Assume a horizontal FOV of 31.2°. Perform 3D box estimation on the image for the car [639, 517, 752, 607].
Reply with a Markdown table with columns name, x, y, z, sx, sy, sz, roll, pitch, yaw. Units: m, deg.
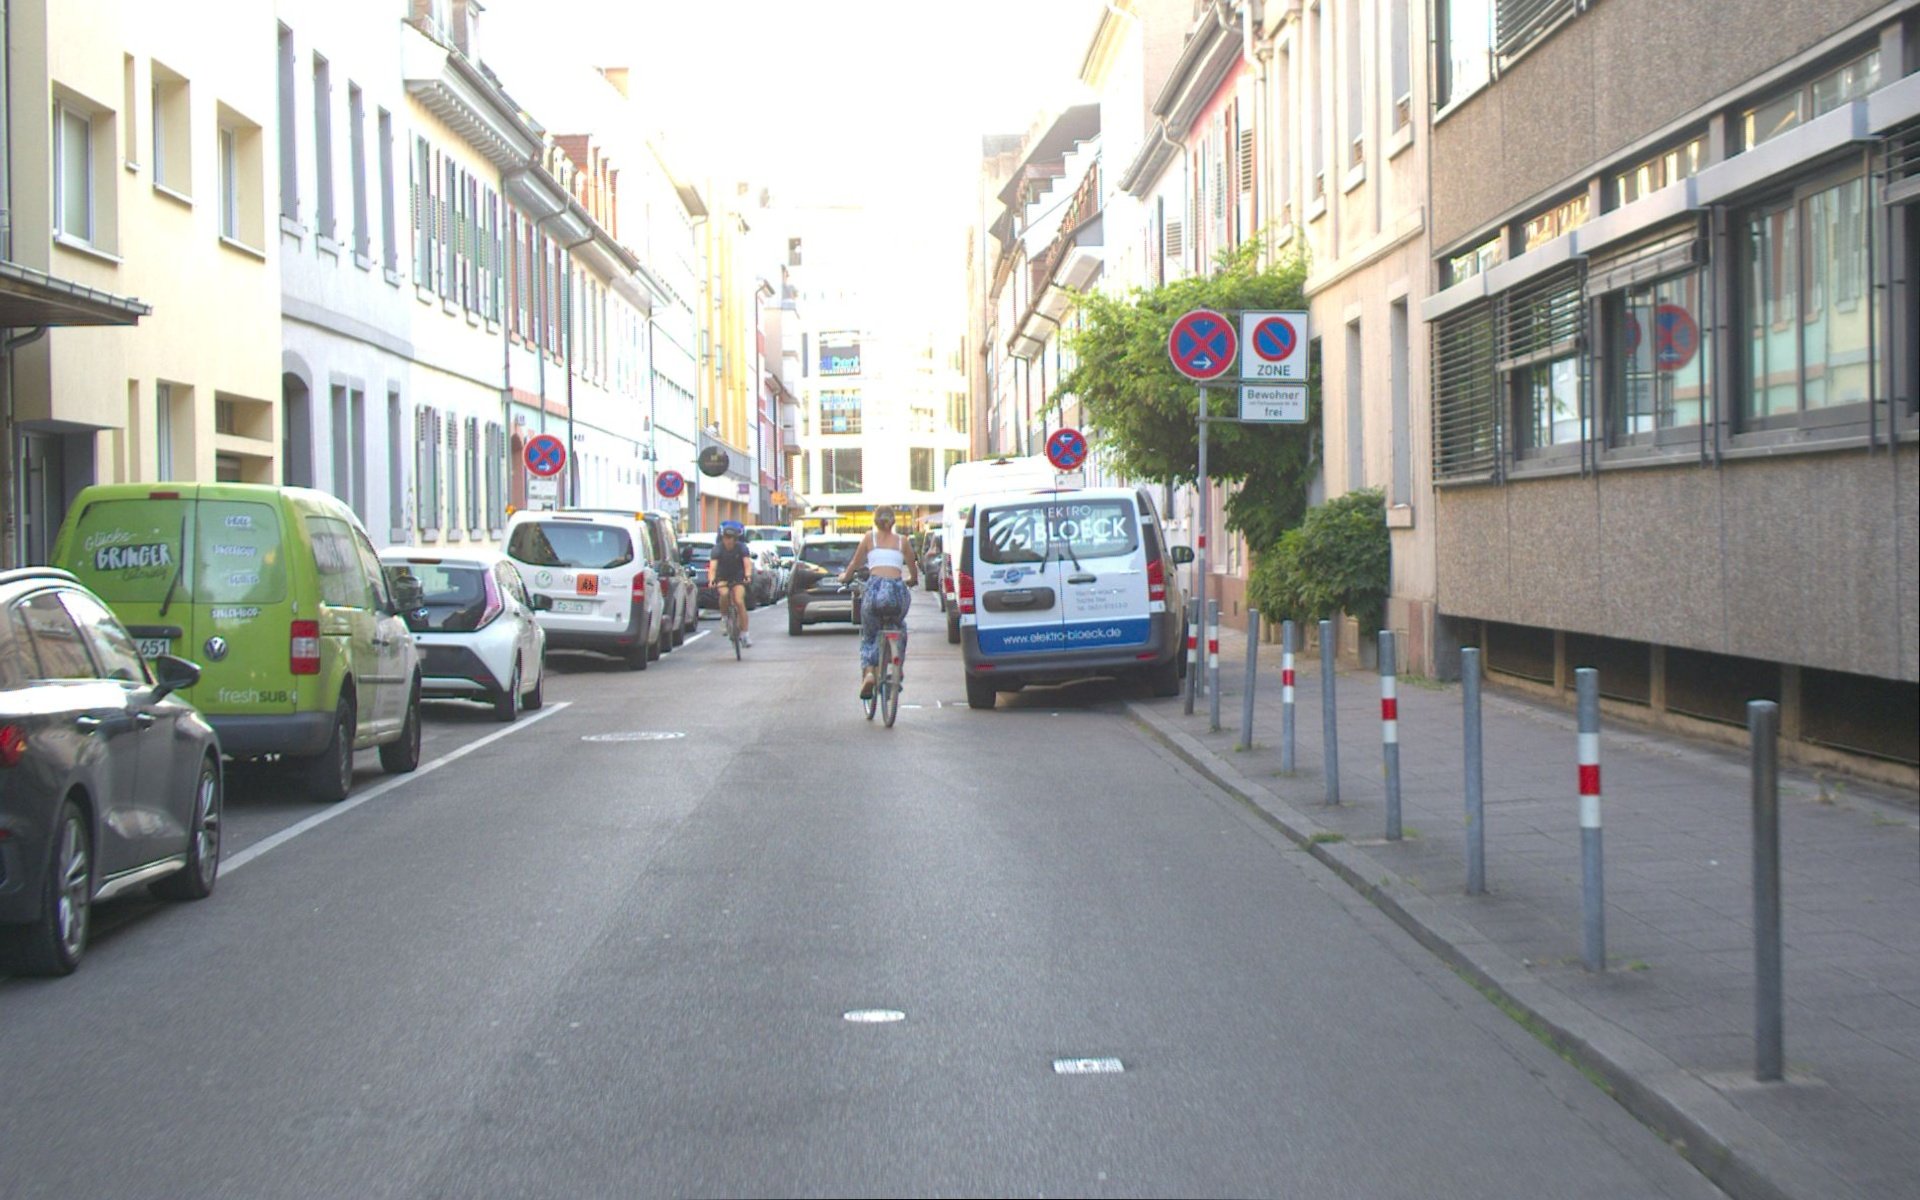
| name | x | y | z | sx | sy | sz | roll | pitch | yaw |
| --- | --- | --- | --- | --- | --- | --- | --- | --- | --- |
| car | -5.134 | -0.762 | 67.261 | 1.803 | 1.671 | 4.490 | -1 | 1 | 1 |

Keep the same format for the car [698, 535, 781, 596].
| name | x | y | z | sx | sy | sz | roll | pitch | yaw |
| --- | --- | --- | --- | --- | --- | --- | --- | --- | --- |
| car | -5.406 | -0.873 | 84.640 | 1.918 | 1.429 | 4.294 | 1 | 1 | -2 |

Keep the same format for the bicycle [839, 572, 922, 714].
| name | x | y | z | sx | sy | sz | roll | pitch | yaw |
| --- | --- | --- | --- | --- | --- | --- | --- | --- | --- |
| bicycle | -0.626 | 0.327 | 27.511 | 0.613 | 1.078 | 1.809 | 0 | 1 | 0 |

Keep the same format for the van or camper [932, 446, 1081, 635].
| name | x | y | z | sx | sy | sz | roll | pitch | yaw |
| --- | --- | --- | --- | --- | --- | --- | --- | --- | --- |
| van or camper | 0.661 | -0.910 | 51.879 | 2.050 | 2.628 | 7.063 | -1 | 1 | 0 |

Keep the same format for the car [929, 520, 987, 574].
| name | x | y | z | sx | sy | sz | roll | pitch | yaw |
| --- | --- | --- | --- | --- | --- | --- | --- | --- | --- |
| car | -0.070 | -1.591 | 102.005 | 1.653 | 1.555 | 3.606 | 1 | 1 | -1 |

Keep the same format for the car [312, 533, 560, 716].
| name | x | y | z | sx | sy | sz | roll | pitch | yaw |
| --- | --- | --- | --- | --- | --- | --- | --- | --- | --- |
| car | -4.564 | 0.174 | 30.370 | 1.662 | 1.444 | 3.521 | 3 | 1 | -1 |

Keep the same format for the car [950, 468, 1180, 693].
| name | x | y | z | sx | sy | sz | roll | pitch | yaw |
| --- | --- | --- | --- | --- | --- | --- | --- | --- | --- |
| car | 0.988 | -0.224 | 32.062 | 1.936 | 1.891 | 5.276 | -1 | 1 | 2 |

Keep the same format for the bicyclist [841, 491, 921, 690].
| name | x | y | z | sx | sy | sz | roll | pitch | yaw |
| --- | --- | --- | --- | --- | --- | --- | --- | --- | --- |
| bicyclist | -0.630 | -0.080 | 27.530 | 0.621 | 1.569 | 0.683 | 0 | 1 | 0 |

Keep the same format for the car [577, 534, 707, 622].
| name | x | y | z | sx | sy | sz | roll | pitch | yaw |
| --- | --- | --- | --- | --- | --- | --- | --- | --- | --- |
| car | -5.196 | -0.387 | 56.682 | 1.765 | 1.397 | 4.263 | 0 | 1 | 0 |

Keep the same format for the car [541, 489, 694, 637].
| name | x | y | z | sx | sy | sz | roll | pitch | yaw |
| --- | --- | --- | --- | --- | --- | --- | --- | --- | --- |
| car | -4.883 | -0.558 | 49.581 | 1.862 | 2.007 | 4.814 | -1 | 1 | -2 |

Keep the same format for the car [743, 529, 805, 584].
| name | x | y | z | sx | sy | sz | roll | pitch | yaw |
| --- | --- | --- | --- | --- | --- | --- | --- | --- | --- |
| car | -5.462 | -1.293 | 101.458 | 1.653 | 1.555 | 3.606 | 1 | 1 | -1 |

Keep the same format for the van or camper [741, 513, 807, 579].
| name | x | y | z | sx | sy | sz | roll | pitch | yaw |
| --- | --- | --- | --- | --- | --- | --- | --- | --- | --- |
| van or camper | -5.775 | -1.694 | 107.298 | 1.844 | 2.006 | 4.678 | 1 | 1 | -1 |

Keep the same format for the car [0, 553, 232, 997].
| name | x | y | z | sx | sy | sz | roll | pitch | yaw |
| --- | --- | --- | --- | --- | --- | --- | --- | --- | --- |
| car | -3.904 | 0.532 | 12.963 | 1.624 | 1.411 | 3.981 | 0 | 1 | -2 |

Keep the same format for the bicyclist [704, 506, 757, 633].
| name | x | y | z | sx | sy | sz | roll | pitch | yaw |
| --- | --- | --- | --- | --- | --- | --- | --- | --- | --- |
| bicyclist | -3.003 | -0.403 | 44.990 | 0.623 | 1.634 | 1.081 | 0 | 1 | 0 |

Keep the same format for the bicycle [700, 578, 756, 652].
| name | x | y | z | sx | sy | sz | roll | pitch | yaw |
| --- | --- | --- | --- | --- | --- | --- | --- | --- | --- |
| bicycle | -3.029 | 0.185 | 44.969 | 0.634 | 0.919 | 1.779 | 0 | 1 | -1 |

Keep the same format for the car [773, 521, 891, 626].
| name | x | y | z | sx | sy | sz | roll | pitch | yaw |
| --- | --- | --- | --- | --- | --- | --- | --- | --- | --- |
| car | -2.025 | -0.446 | 55.405 | 1.819 | 1.612 | 4.000 | 1 | 1 | -1 |

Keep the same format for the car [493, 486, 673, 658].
| name | x | y | z | sx | sy | sz | roll | pitch | yaw |
| --- | --- | --- | --- | --- | --- | --- | --- | --- | --- |
| car | -4.671 | -0.384 | 43.229 | 1.862 | 2.007 | 5.107 | -1 | 1 | -2 |

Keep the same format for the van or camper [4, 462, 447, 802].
| name | x | y | z | sx | sy | sz | roll | pitch | yaw |
| --- | --- | --- | --- | --- | --- | --- | --- | --- | --- |
| van or camper | -4.352 | 0.132 | 21.007 | 1.772 | 1.842 | 4.178 | -1 | 1 | 0 |
